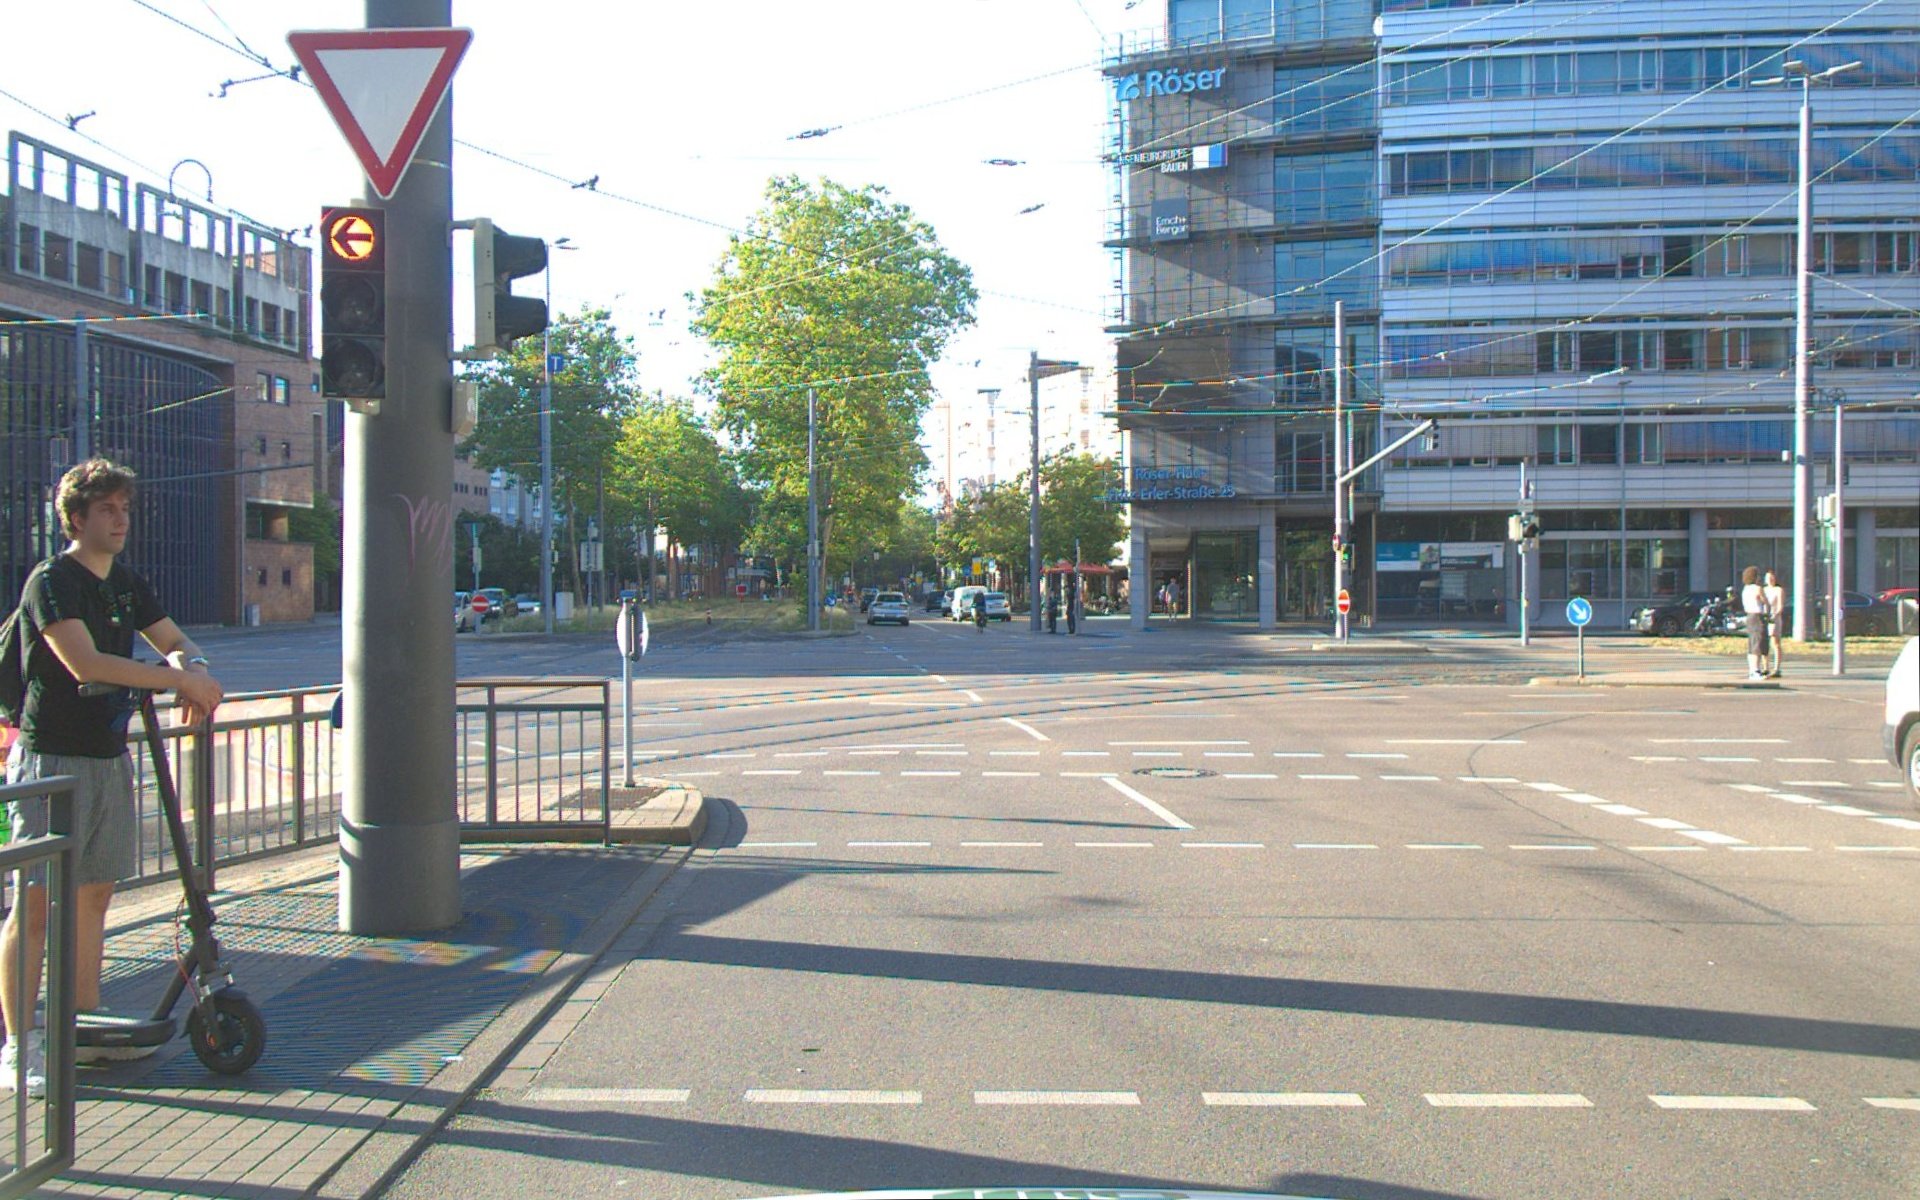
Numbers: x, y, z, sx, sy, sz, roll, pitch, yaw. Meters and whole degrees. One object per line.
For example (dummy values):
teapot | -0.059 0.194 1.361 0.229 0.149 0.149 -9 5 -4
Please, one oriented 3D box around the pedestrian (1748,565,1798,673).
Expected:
pedestrian | 13.705 0.316 27.893 0.669 1.789 0.742 -1 0 21

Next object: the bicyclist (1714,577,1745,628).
bicyclist | 23.160 0.068 49.801 0.649 1.529 0.613 -1 0 4

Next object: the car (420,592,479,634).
car | -20.630 0.503 66.970 1.591 1.604 3.994 -1 0 -7

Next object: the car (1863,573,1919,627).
car | 29.564 0.021 49.669 3.903 1.579 1.798 1 0 4

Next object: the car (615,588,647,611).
car | -29.548 -0.071 148.535 1.837 2.049 4.472 -1 0 2

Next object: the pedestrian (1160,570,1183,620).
pedestrian | 8.853 -0.204 69.302 0.852 2.049 0.793 1 -2 -1

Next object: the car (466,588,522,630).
car | -20.990 0.403 74.567 1.787 1.821 3.994 -1 0 -7

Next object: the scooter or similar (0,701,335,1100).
scooter or similar | -2.646 0.889 5.092 1.177 1.100 0.648 -1 0 3

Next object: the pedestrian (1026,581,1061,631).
pedestrian | 3.330 0.243 66.061 1.315 1.984 1.011 0 0 -1

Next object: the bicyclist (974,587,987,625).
bicyclist | 0.789 0.235 63.949 0.477 1.464 0.615 1 0 -1

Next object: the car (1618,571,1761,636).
car | 24.393 0.121 55.388 3.906 2.049 2.000 1 0 -1

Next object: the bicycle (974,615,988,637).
bicycle | 0.789 1.006 63.783 0.481 0.802 1.861 1 0 -1

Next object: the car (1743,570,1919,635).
car | 24.848 0.061 47.144 4.165 1.753 1.885 -1 0 2

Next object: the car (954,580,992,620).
car | 0.661 0.004 89.705 1.953 2.049 3.999 1 0 -1

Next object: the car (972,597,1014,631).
car | 1.626 0.685 82.786 1.988 1.624 3.999 1 0 -1

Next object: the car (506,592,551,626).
car | -21.918 0.445 84.181 1.644 1.635 3.994 1 0 -7

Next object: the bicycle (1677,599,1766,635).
bicycle | 22.918 0.504 49.807 2.359 1.040 0.637 -1 0 4

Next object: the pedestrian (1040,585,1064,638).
pedestrian | 3.561 0.436 64.339 0.832 2.049 0.707 1 -1 -3

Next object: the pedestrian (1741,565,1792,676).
pedestrian | 13.234 0.331 27.157 0.663 1.789 0.742 -1 0 21

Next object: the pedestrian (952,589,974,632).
pedestrian | 0.106 0.421 67.084 0.852 1.737 0.793 1 -1 -1

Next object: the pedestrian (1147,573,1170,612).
pedestrian | 11.607 -0.434 96.649 1.285 2.228 1.171 1 -1 5

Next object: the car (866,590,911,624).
car | -3.121 0.284 73.115 1.712 1.443 4.001 0 0 1

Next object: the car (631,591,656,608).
car | -33.590 -0.044 175.666 1.871 1.814 3.999 -1 0 -1

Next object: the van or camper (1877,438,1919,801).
van or camper | 7.926 0.153 9.429 1.958 2.660 6.500 -1 0 2

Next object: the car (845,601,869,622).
car | -7.549 0.818 120.904 1.729 1.429 4.292 0 0 -5

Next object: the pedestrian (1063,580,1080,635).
pedestrian | 4.245 0.283 62.845 0.574 2.049 0.620 1 -1 0

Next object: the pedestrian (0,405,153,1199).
pedestrian | -2.713 0.488 4.089 0.834 1.917 1.171 1 0 -1

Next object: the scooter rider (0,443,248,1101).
scooter rider | -2.640 0.500 5.111 0.554 1.885 0.680 -1 -2 4

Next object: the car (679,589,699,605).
car | -31.807 -0.389 194.153 1.807 1.814 3.999 -1 0 -1

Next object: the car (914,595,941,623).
car | -2.481 0.692 126.609 1.953 2.049 3.999 1 0 -1
